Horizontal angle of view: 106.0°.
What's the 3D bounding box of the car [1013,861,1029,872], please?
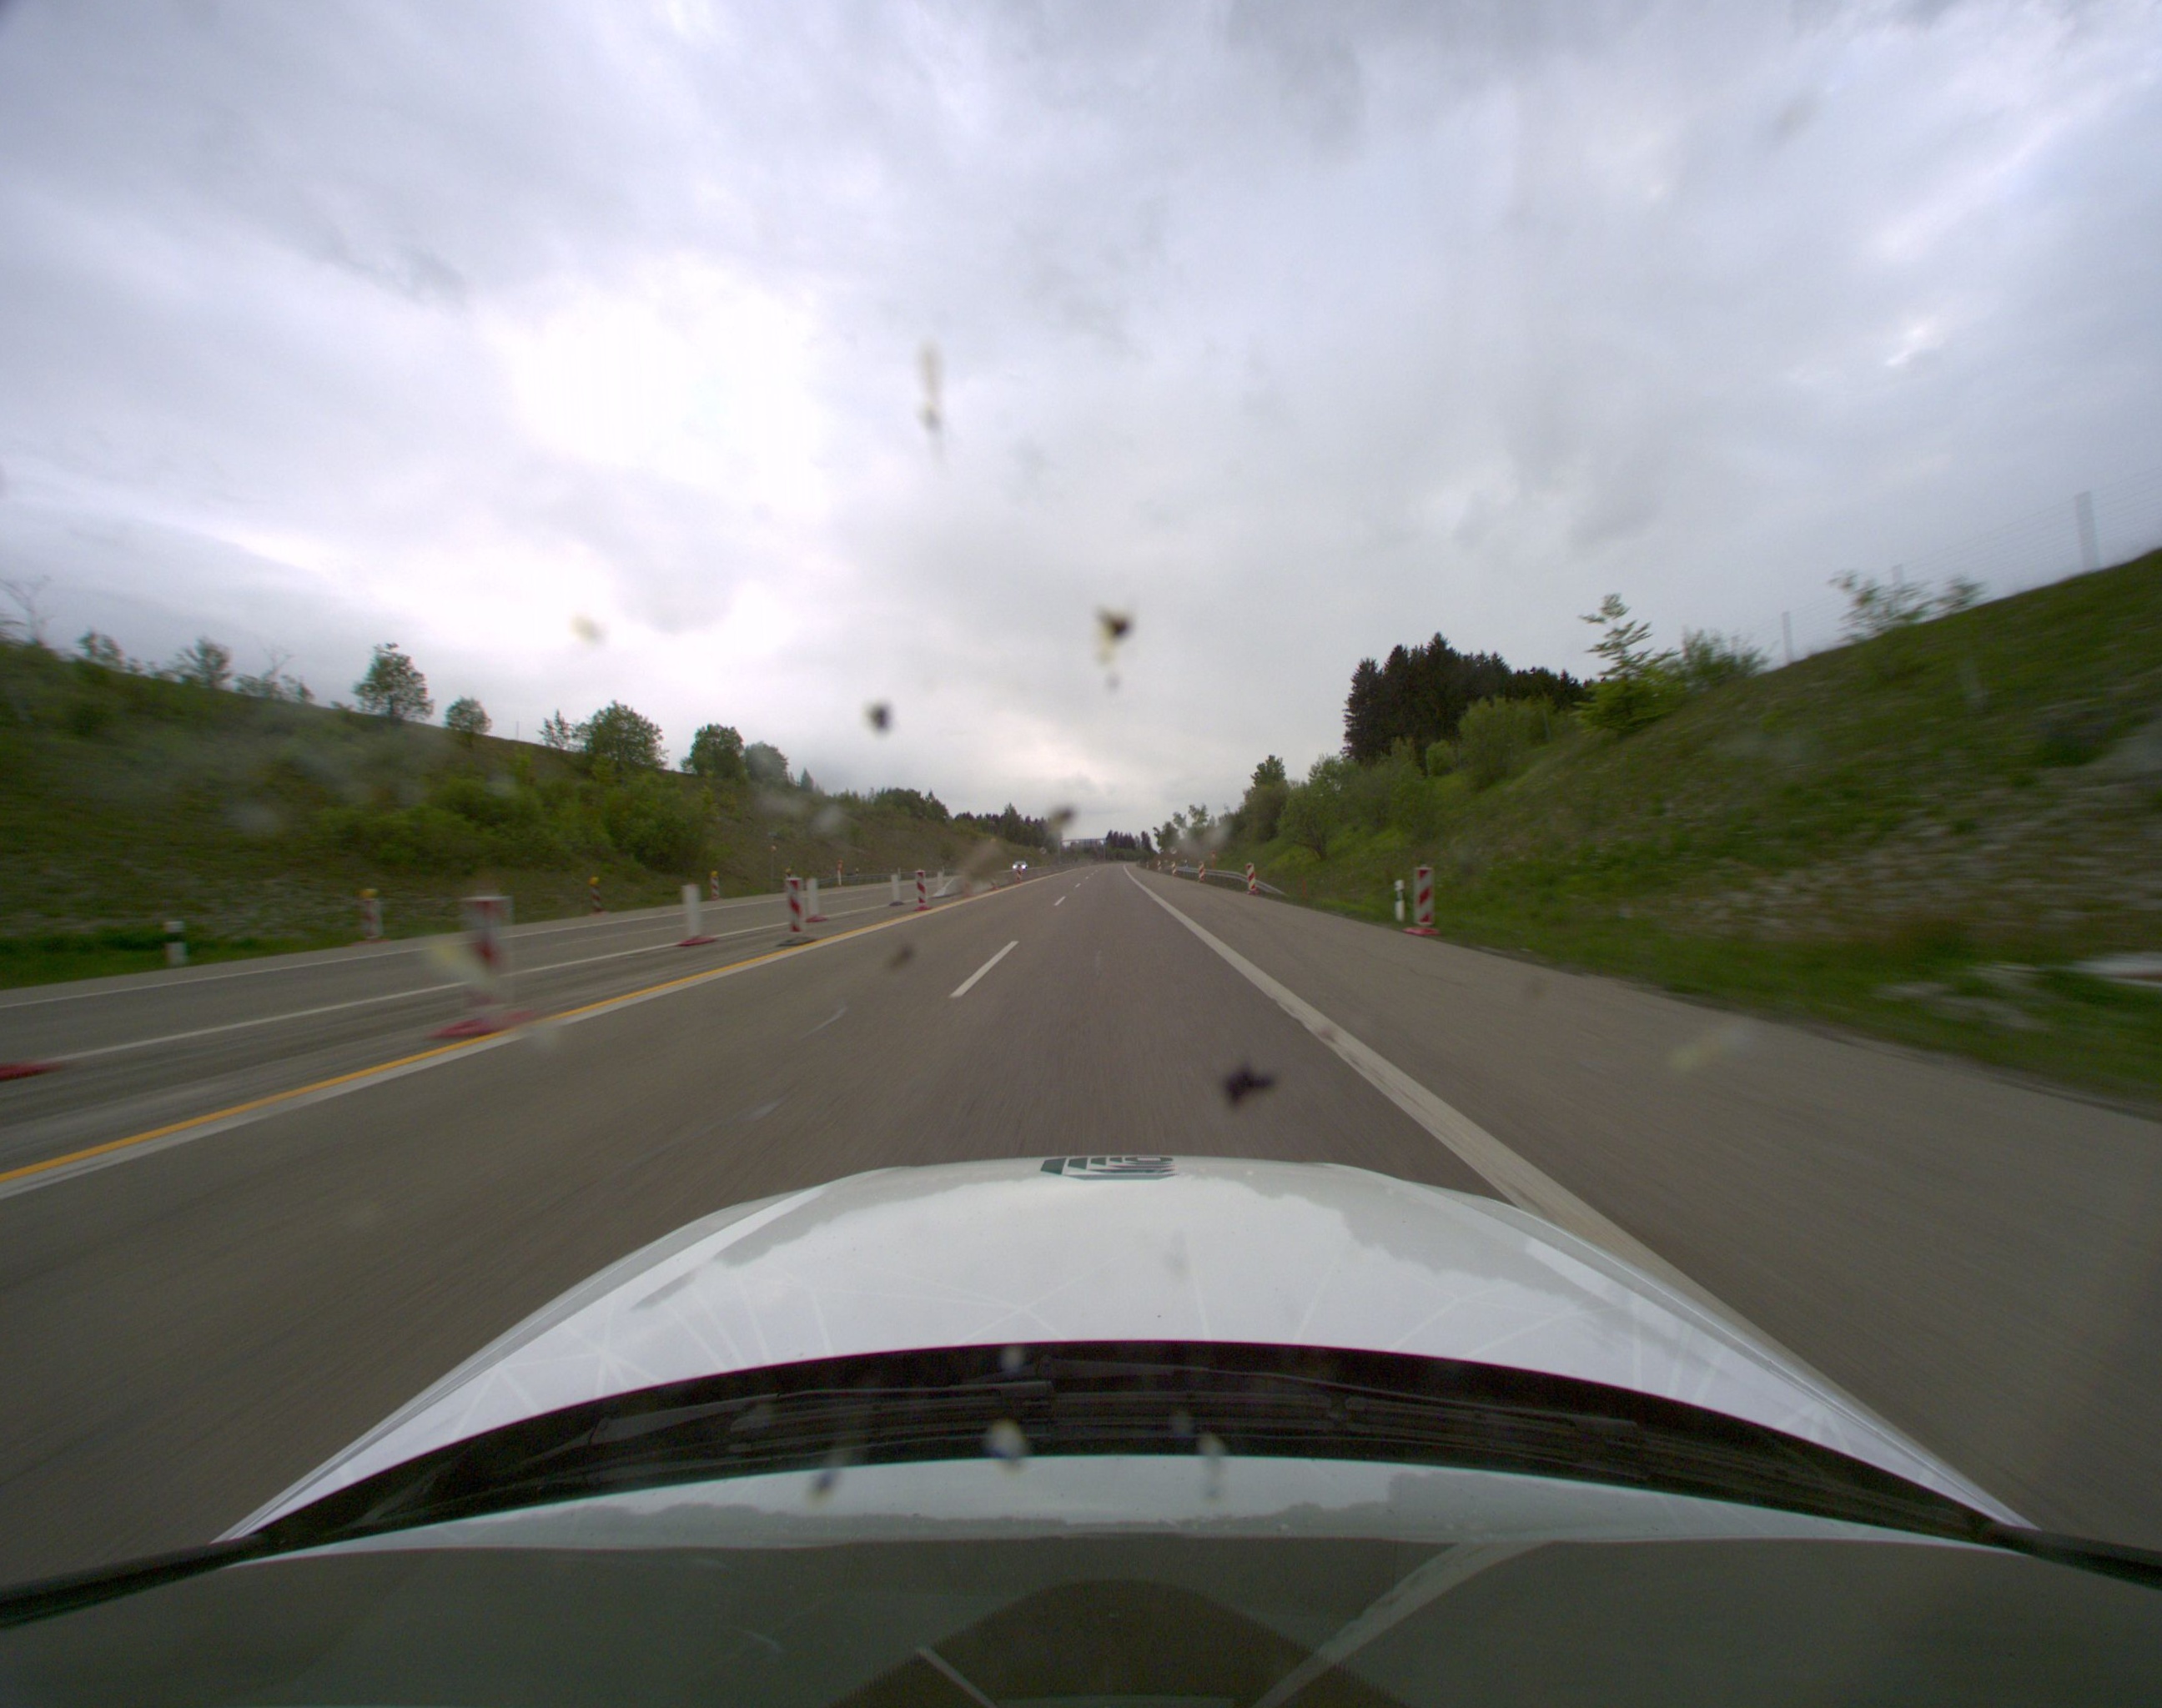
[{"bbox_3d":[-9.118,1.860,123.996,1.907,1.601,4.168,-2,-1,2],"label":"car"}]
